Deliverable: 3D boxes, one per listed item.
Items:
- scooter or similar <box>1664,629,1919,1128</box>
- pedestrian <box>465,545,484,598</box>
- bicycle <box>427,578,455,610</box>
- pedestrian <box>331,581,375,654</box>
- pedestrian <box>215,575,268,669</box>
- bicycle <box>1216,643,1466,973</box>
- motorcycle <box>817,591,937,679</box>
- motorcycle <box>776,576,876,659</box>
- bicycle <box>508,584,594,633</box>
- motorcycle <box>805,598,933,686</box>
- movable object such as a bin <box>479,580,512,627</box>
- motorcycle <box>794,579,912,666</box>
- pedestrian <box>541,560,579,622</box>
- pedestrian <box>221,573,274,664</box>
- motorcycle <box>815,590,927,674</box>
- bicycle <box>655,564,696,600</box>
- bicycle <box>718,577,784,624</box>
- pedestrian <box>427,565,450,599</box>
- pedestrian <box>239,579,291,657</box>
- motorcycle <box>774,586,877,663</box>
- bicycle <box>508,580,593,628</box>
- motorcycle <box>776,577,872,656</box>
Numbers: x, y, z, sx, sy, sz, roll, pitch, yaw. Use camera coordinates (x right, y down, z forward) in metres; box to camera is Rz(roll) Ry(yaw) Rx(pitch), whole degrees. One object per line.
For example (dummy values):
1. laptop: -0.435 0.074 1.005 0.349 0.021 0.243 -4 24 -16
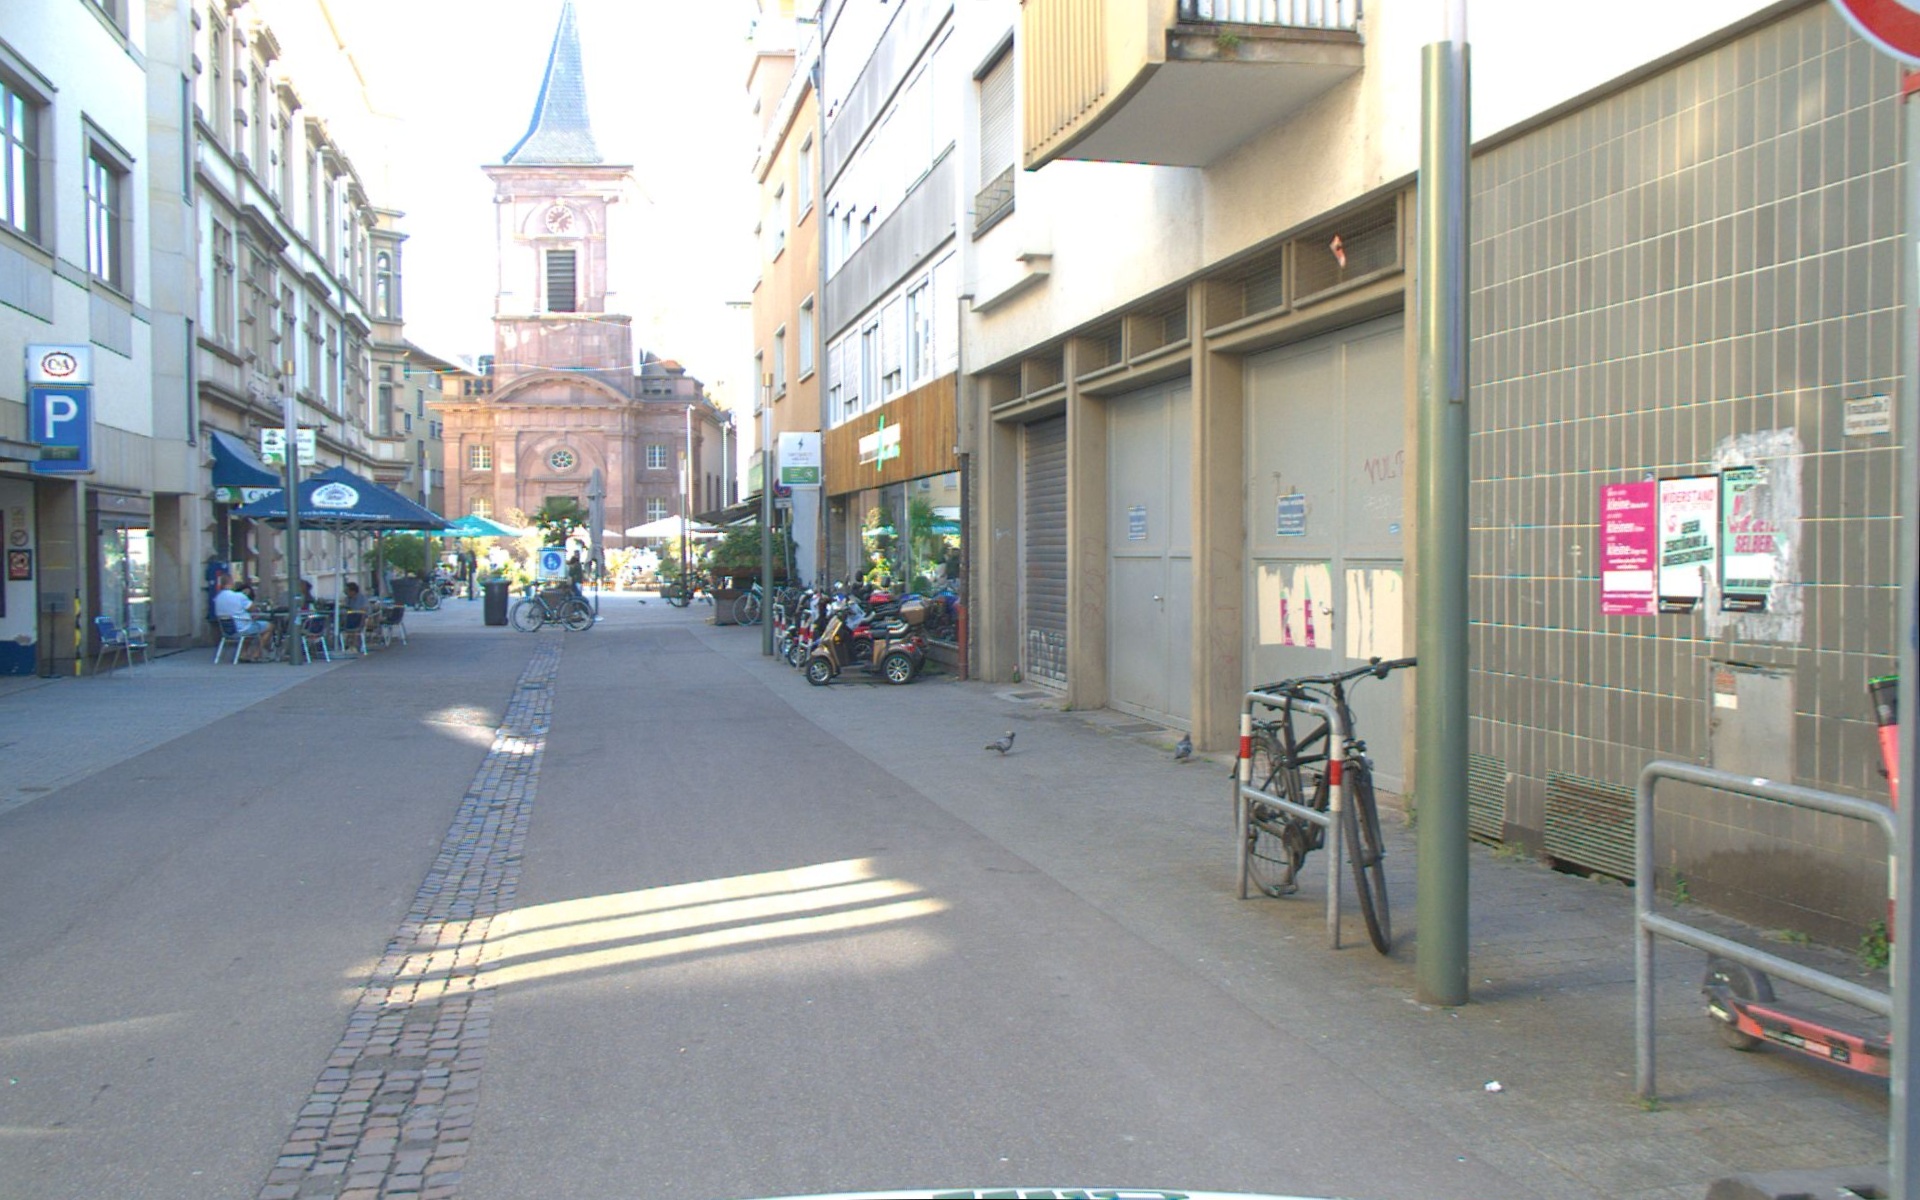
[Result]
1. scooter or similar: 2.564 0.745 4.718 0.302 1.274 1.233 -1 1 -17
2. pedestrian: -16.998 -1.015 57.852 0.605 1.840 0.612 -1 1 -17
3. bicycle: -14.861 -0.177 47.369 0.448 0.864 2.142 -1 2 -10
4. pedestrian: -10.510 0.292 28.629 0.682 1.236 0.579 -1 1 -21
5. pedestrian: -10.884 0.320 25.051 0.699 1.392 0.714 -1 1 -25
6. bicycle: 1.541 0.787 6.963 0.438 1.159 1.707 0 0 -8
7. motorcycle: -1.073 0.454 21.481 1.484 1.094 0.412 -1 1 5
8. motorcycle: -2.032 0.261 25.138 1.453 1.202 0.412 -1 1 1
9. bicycle: -8.937 0.182 36.169 1.795 1.022 0.379 -1 1 -17
10. motorcycle: -1.135 0.522 20.661 1.531 1.060 0.373 -1 1 5
11. movable object such as a bin: -10.964 0.075 39.032 0.709 1.093 0.373 -1 1 -15
12. motorcycle: -1.522 0.313 23.606 1.590 1.195 0.481 -1 1 5
13. pedestrian: -9.797 -0.227 40.565 0.868 1.489 0.728 -1 1 -13
14. pedestrian: -11.195 0.274 25.982 0.708 1.392 0.704 -1 1 -25
15. motorcycle: -1.209 0.437 22.470 1.452 1.094 0.412 -1 1 5
16. bicycle: -10.669 -0.678 62.079 1.578 1.330 0.360 -2 2 -43
17. bicycle: -4.631 0.007 36.678 1.435 1.022 0.572 -1 1 -7
18. pedestrian: -19.161 -0.655 60.771 0.687 1.239 0.718 -1 1 -8
19. pedestrian: -11.622 0.285 27.677 0.754 1.254 0.826 -1 1 -21
20. motorcycle: -1.977 0.361 24.373 1.452 1.094 0.412 -1 1 5
21. bicycle: -9.047 0.076 36.558 1.795 1.022 0.379 -1 1 -17
22. motorcycle: -2.157 0.260 26.219 1.453 1.202 0.412 -1 1 1
